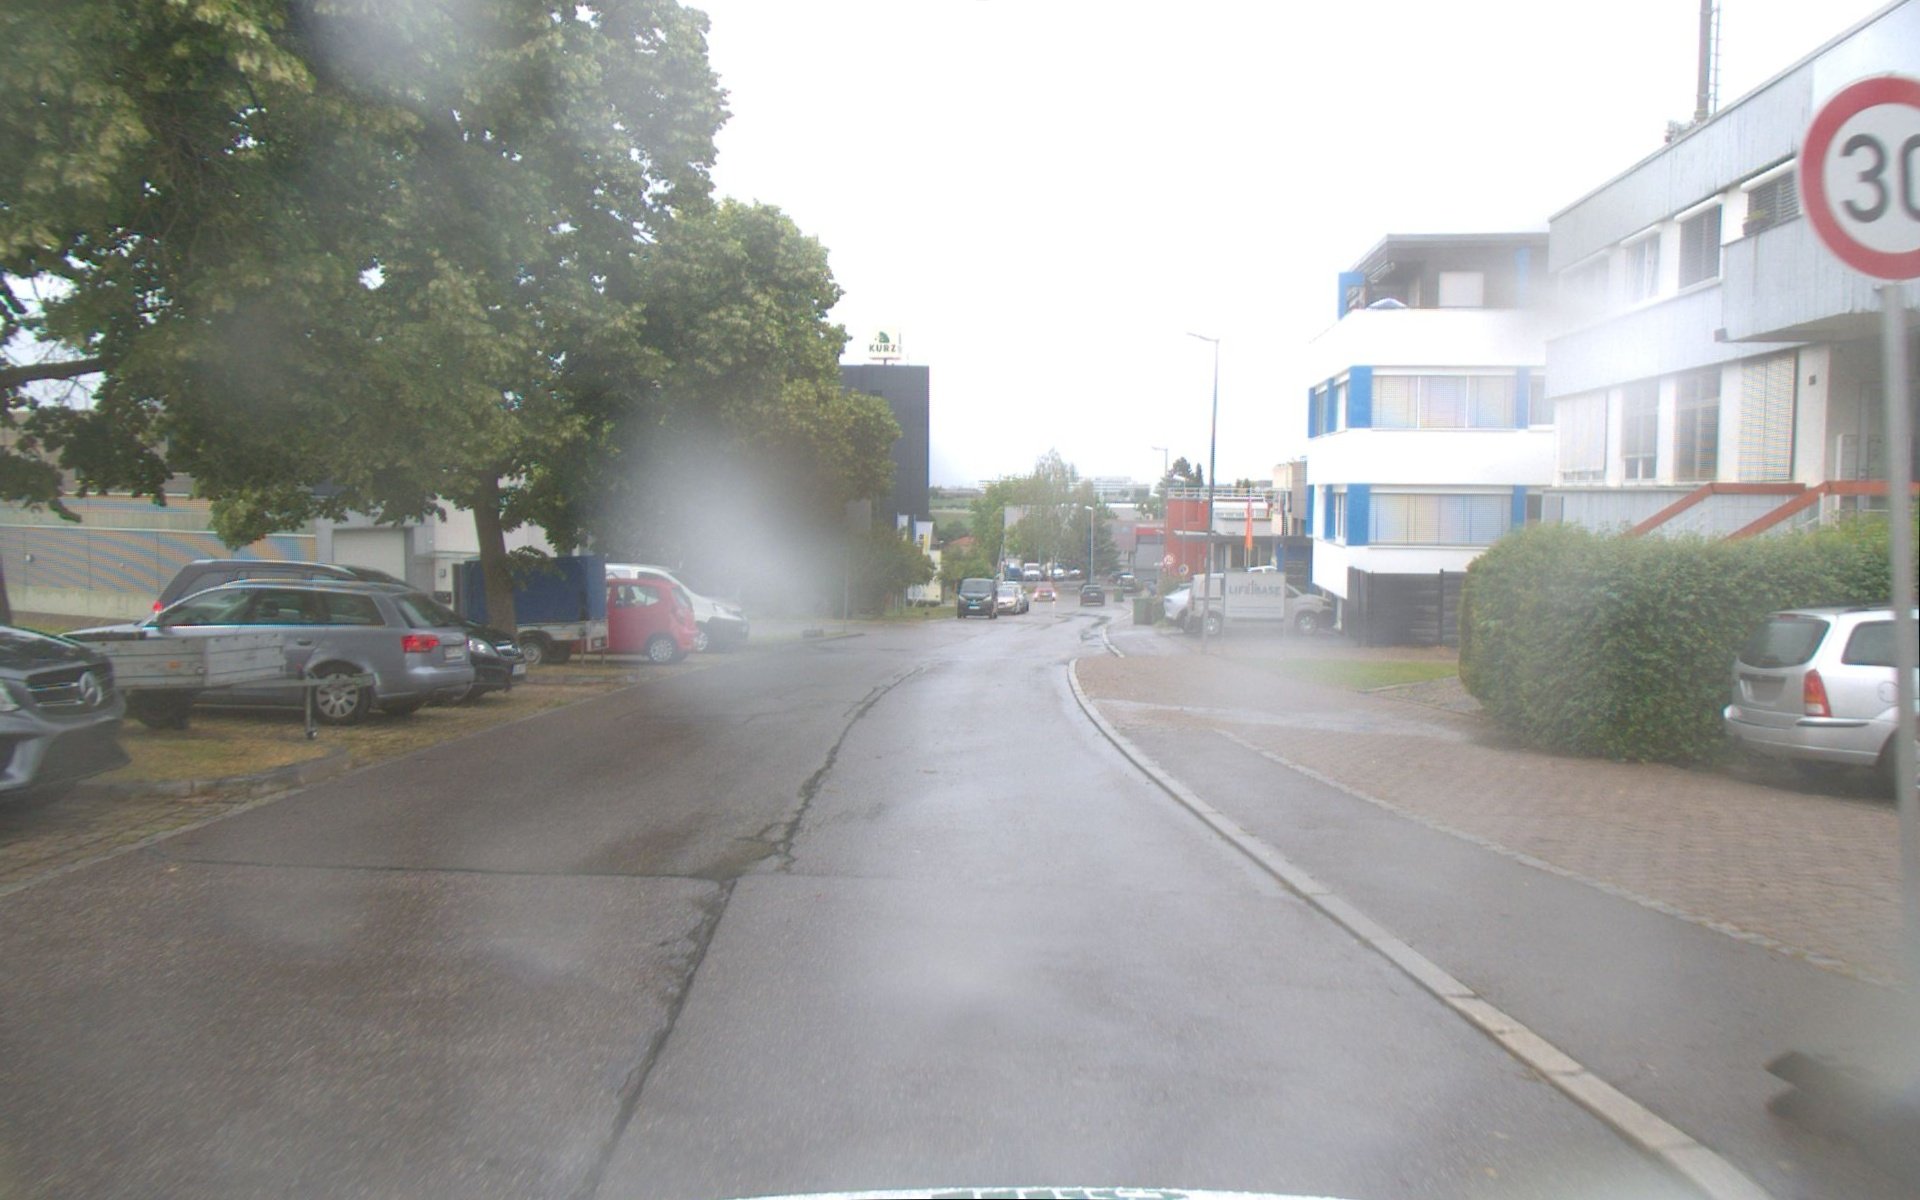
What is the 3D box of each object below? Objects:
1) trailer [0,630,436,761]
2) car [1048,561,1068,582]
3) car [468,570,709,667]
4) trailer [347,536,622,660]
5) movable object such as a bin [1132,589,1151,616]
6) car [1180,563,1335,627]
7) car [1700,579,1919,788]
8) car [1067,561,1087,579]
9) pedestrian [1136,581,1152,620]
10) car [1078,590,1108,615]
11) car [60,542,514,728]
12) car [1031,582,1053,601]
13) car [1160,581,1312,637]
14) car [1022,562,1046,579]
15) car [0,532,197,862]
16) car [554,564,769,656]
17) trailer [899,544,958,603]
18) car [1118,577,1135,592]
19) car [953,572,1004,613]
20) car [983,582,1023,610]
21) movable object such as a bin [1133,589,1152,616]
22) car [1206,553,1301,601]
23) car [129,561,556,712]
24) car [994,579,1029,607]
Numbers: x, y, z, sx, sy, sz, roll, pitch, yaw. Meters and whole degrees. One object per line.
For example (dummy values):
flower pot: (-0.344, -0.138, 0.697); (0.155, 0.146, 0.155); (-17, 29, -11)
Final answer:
trailer: (-7.056, 0.833, 15.114); (3.860, 0.978, 2.000); (1, 1, 1)
car: (12.126, -3.538, 204.797); (2.149, 2.502, 3.998); (0, 0, -3)
car: (-6.885, 0.336, 30.938); (4.110, 1.752, 1.755); (0, 0, 0)
trailer: (-8.025, -0.037, 28.143); (4.124, 2.019, 1.775); (0, 0, 3)
movable object such as a bin: (7.203, 0.105, 65.679); (0.755, 1.048, 0.809); (0, 1, 7)
car: (8.667, -0.154, 48.530); (4.249, 1.804, 2.090); (-1, 1, 4)
car: (8.639, 0.638, 13.660); (4.223, 1.612, 1.859); (0, 0, 2)
car: (14.575, -3.714, 205.584); (2.102, 2.049, 3.938); (0, 0, -1)
pedestrian: (8.586, 0.010, 77.221); (0.721, 1.798, 0.809); (0, 0, 7)
car: (9.555, 0.194, 118.943); (1.915, 1.705, 4.473); (0, 0, 2)
car: (-7.118, 0.345, 17.788); (3.988, 1.752, 2.027); (2, 0, 4)
car: (6.870, -0.696, 138.905); (1.711, 1.534, 3.936); (-2, 0, 2)
car: (8.554, 0.274, 51.645); (4.500, 1.565, 2.081); (-2, 1, 5)
car: (9.152, -3.680, 204.631); (2.223, 2.049, 3.991); (0, 0, -10)
car: (-7.119, 0.526, 9.747); (4.279, 1.752, 2.044); (0, 0, -1)
car: (-6.457, 0.218, 35.985); (4.208, 1.939, 1.863); (0, 0, 8)
trailer: (-2.348, -1.941, 121.517); (4.115, 4.276, 1.993); (0, 1, 44)
car: (17.040, -1.601, 169.174); (1.661, 1.501, 4.002); (0, 0, 5)
car: (0.906, -0.379, 78.137); (1.875, 1.863, 4.851); (0, 1, 7)
car: (2.438, -0.247, 92.712); (1.914, 1.486, 5.251); (0, 1, 5)
movable object such as a bin: (7.325, 0.105, 66.405); (0.727, 1.085, 0.637); (0, 1, 7)
car: (17.346, -1.353, 98.005); (5.190, 2.047, 2.223); (-8, -1, 5)
car: (-7.488, 0.418, 20.340); (4.521, 1.617, 1.807); (2, 0, 3)
car: (3.100, -0.411, 99.059); (1.916, 1.604, 4.842); (-1, 0, 4)
